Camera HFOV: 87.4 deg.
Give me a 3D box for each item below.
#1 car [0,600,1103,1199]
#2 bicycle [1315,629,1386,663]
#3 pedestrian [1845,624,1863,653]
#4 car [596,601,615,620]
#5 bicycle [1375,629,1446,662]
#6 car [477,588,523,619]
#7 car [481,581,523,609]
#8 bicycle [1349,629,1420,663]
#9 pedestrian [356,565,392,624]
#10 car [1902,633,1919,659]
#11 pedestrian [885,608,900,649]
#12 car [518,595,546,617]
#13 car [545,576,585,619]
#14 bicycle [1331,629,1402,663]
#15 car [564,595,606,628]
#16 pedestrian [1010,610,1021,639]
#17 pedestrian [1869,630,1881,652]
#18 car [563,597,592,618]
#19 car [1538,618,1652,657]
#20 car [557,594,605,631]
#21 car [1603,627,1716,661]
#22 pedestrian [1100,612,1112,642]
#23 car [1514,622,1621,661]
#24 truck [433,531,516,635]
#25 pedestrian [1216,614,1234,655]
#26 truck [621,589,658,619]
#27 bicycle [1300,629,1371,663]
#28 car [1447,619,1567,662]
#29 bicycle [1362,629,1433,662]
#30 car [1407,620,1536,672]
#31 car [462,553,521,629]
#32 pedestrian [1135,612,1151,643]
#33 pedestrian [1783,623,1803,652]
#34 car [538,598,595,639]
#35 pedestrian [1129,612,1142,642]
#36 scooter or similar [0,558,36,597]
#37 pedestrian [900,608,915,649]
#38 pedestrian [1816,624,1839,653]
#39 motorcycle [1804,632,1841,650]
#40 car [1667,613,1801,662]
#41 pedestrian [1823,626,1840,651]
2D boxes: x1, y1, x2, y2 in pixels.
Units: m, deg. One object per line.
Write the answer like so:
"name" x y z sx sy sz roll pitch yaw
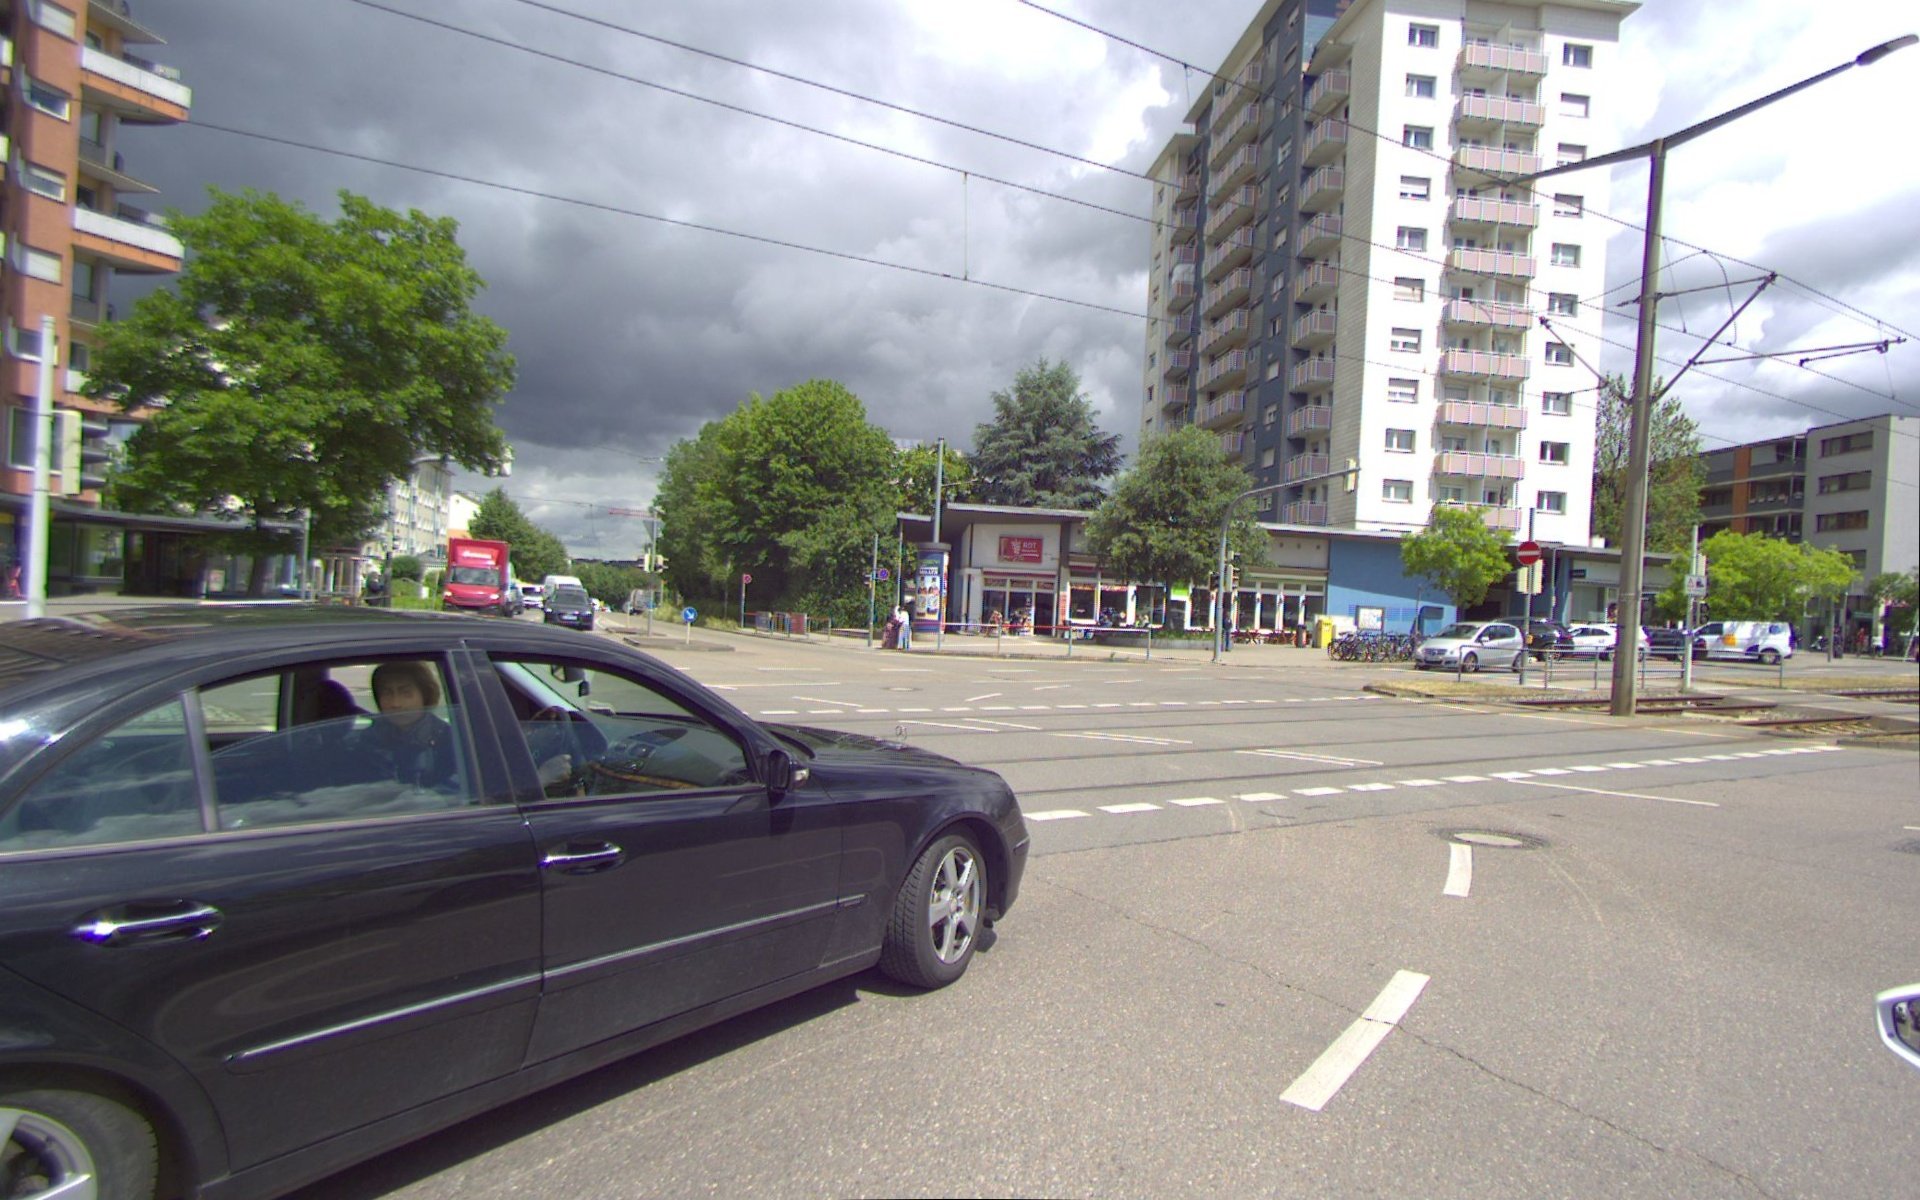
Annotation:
"car" -1.645 0.737 3.244 1.949 1.417 4.651 1 -1 41
"bicycle" 13.560 1.579 34.963 0.696 1.080 2.417 1 0 -28
"pedestrian" 56.147 2.420 63.059 0.834 1.816 0.608 1 0 -31
"car" -55.717 1.653 157.876 2.351 2.930 6.140 1 0 -23
"bicycle" 16.357 1.648 36.507 0.696 1.080 2.417 1 0 -28
"car" -25.332 0.173 55.419 1.970 1.623 3.982 1 0 -20
"car" -28.102 -0.300 61.714 1.970 1.623 3.982 1 0 -20
"bicycle" 15.073 1.616 35.755 0.696 1.080 2.417 1 0 -28
"pedestrian" -18.638 -0.177 31.943 0.874 1.835 0.641 1 0 35
"car" 56.994 2.719 58.558 4.326 1.447 1.728 2 -1 -28
"pedestrian" -2.518 1.063 37.353 0.516 1.492 0.572 1 0 -3
"car" -35.115 0.448 82.449 1.973 1.732 3.975 1 0 -25
"car" -27.516 -0.173 70.103 2.400 2.825 4.874 1 0 -20
"bicycle" 14.261 1.596 35.325 0.696 1.080 2.417 1 0 -28
"car" -19.563 0.565 52.443 1.970 1.623 3.982 1 0 -20
"pedestrian" 2.835 1.247 51.137 0.515 1.492 0.572 1 0 3
"pedestrian" 62.095 2.776 68.138 0.490 1.479 0.559 1 0 32
"car" -29.981 0.569 78.815 1.970 1.623 3.982 1 0 -20
"car" 28.663 1.667 45.453 3.919 1.654 1.907 1 0 14
"car" -17.487 0.559 46.463 1.970 1.623 3.982 1 0 -20
"car" 32.545 2.042 46.836 3.920 1.402 1.907 1 0 19
"pedestrian" 7.400 1.346 50.776 0.515 1.492 0.572 1 0 3
"car" 26.358 1.774 43.703 3.692 1.516 1.747 1 0 20
"truck" -19.167 -0.597 39.971 2.510 3.723 7.062 1 0 -22
"pedestrian" 10.691 1.391 40.540 0.594 1.665 0.414 1 0 -32
"truck" -29.170 0.356 91.272 2.905 2.583 7.001 1 0 -20
"bicycle" 12.891 1.563 34.575 0.696 1.080 2.417 1 0 -28
"car" 22.261 1.637 41.053 3.919 1.612 1.934 1 0 13
"bicycle" 15.709 1.632 36.102 0.696 1.080 2.417 1 0 -28
"car" 16.325 1.449 32.053 3.705 1.553 1.812 1 0 -27
"car" -22.156 -0.403 47.679 1.970 3.343 6.275 1 0 -20
"pedestrian" 9.009 1.367 49.406 0.565 1.492 0.522 1 0 -27
"pedestrian" 52.599 2.351 63.443 0.828 1.816 0.872 1 0 29
"car" -15.525 0.707 39.652 1.971 1.514 3.979 1 0 -22
"pedestrian" 8.911 1.378 50.988 0.516 1.492 0.572 1 0 0
"scooter or similar" -27.403 -0.641 29.153 0.539 1.108 1.737 1 0 -32
"pedestrian" -1.945 1.046 36.922 0.516 1.492 0.519 1 0 -3
"pedestrian" 52.560 2.324 60.858 0.603 1.672 0.840 1 1 -17
"motorcycle" 61.778 2.918 71.927 0.733 1.194 1.881 1 0 -32
"car" 36.884 1.741 48.017 4.667 2.185 1.907 1 0 19
"pedestrian" 55.311 2.441 63.747 0.654 1.594 0.687 1 0 32
